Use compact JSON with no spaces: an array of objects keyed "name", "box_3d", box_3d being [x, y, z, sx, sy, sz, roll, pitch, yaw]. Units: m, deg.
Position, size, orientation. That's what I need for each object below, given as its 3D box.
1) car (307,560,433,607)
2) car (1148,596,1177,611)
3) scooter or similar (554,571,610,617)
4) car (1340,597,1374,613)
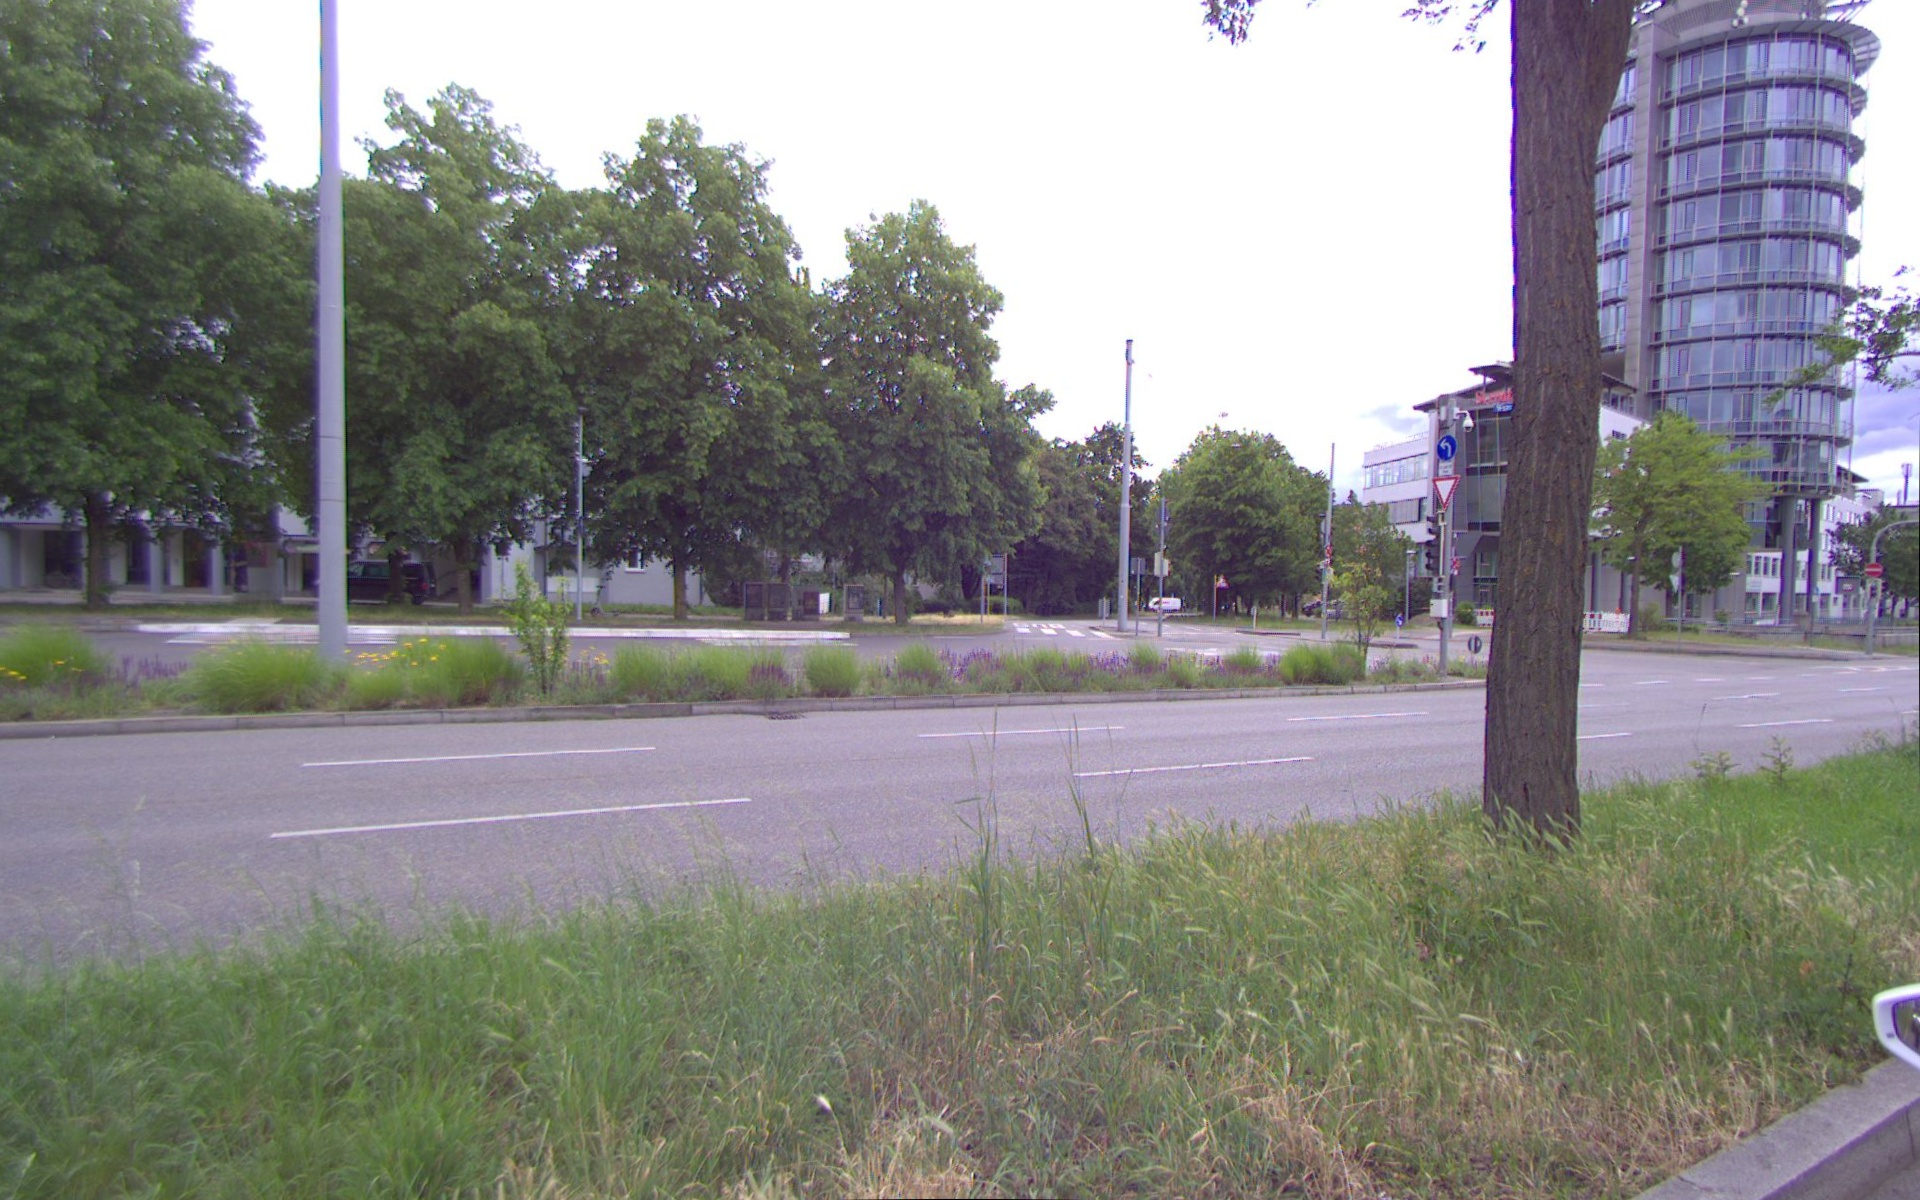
[{"name":"car","box_3d":[-25.511,-0.682,43.600,4.345,1.872,1.781,1,0,-16]},{"name":"car","box_3d":[35.099,0.619,173.882,4.475,2.370,1.994,2,0,-15]},{"name":"scooter or similar","box_3d":[-14.085,-0.217,37.465,1.835,1.686,0.645,1,1,-43]},{"name":"car","box_3d":[22.889,0.279,57.888,1.684,0.888,0.776,1,0,7]}]
